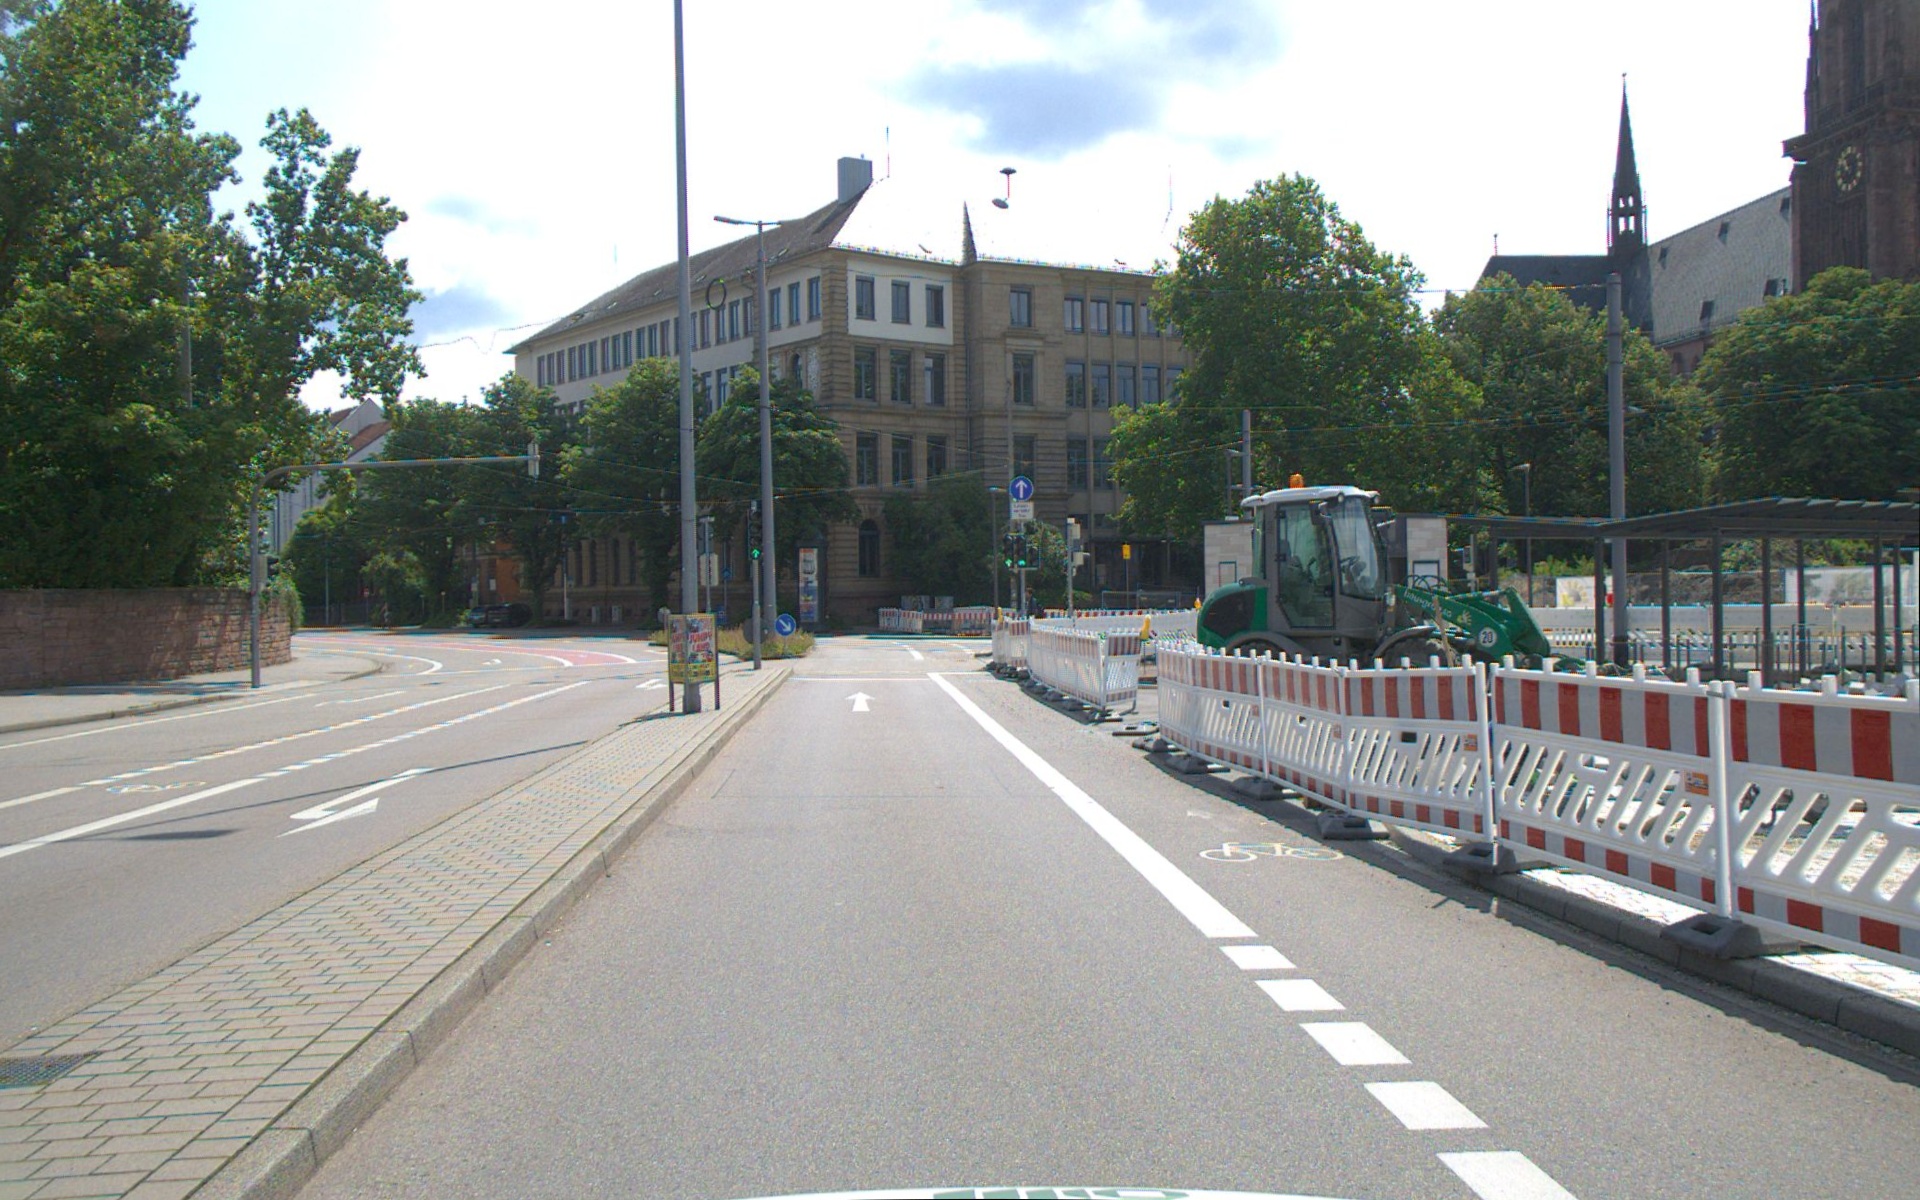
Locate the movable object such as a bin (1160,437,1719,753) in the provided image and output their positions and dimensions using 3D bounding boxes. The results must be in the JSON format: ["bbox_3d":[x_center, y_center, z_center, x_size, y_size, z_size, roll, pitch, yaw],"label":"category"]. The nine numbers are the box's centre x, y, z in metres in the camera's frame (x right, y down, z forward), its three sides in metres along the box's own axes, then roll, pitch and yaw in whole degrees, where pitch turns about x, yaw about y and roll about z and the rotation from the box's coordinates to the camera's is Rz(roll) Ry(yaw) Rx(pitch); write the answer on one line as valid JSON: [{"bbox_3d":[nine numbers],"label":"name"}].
[{"bbox_3d":[5.066,-0.046,18.078,5.447,2.935,2.273,-1,0,44],"label":"movable object such as a bin"}]

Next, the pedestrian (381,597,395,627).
[{"bbox_3d":[-39.033,0.822,112.851,0.690,2.049,0.885,-1,0,-35],"label":"pedestrian"}]

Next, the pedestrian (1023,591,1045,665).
[{"bbox_3d":[1.902,0.712,42.415,0.487,1.882,0.529,-1,0,7],"label":"pedestrian"}]

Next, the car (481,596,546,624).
[{"bbox_3d":[-29.322,0.644,108.610,3.914,1.713,1.799,-1,0,-10],"label":"car"}]

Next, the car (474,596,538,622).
[{"bbox_3d":[-30.393,0.594,110.874,3.914,1.713,1.799,-1,0,-10],"label":"car"}]
